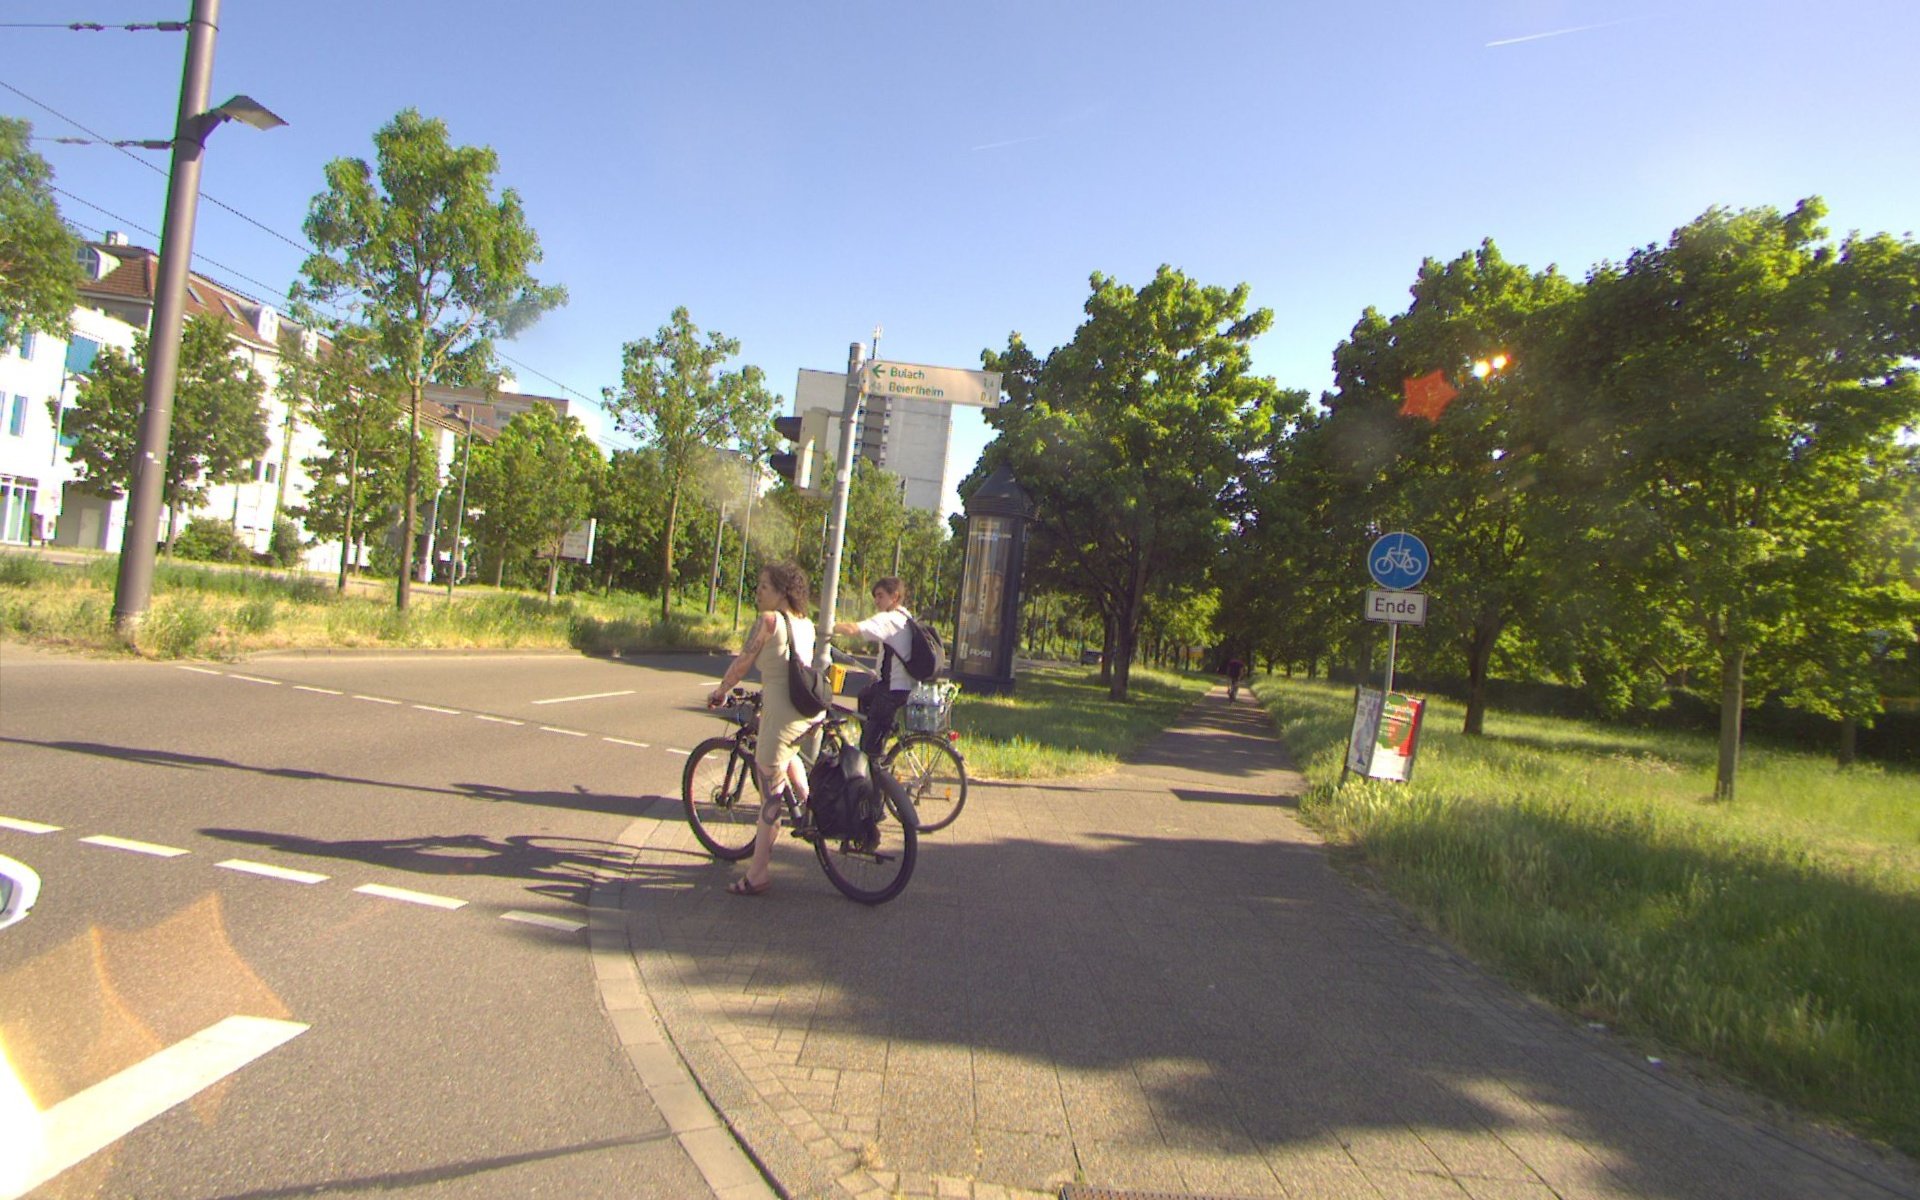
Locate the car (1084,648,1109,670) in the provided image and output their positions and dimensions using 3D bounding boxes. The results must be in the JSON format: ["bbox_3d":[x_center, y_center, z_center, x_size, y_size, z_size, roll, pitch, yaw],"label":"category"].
[{"bbox_3d":[11.899,5.169,87.529,1.661,1.594,3.880,6,-4,14],"label":"car"}]

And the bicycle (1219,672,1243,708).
[{"bbox_3d":[9.210,3.048,34.185,0.660,1.067,1.813,6,-1,15],"label":"bicycle"}]

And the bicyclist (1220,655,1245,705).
[{"bbox_3d":[9.265,2.719,34.244,0.660,1.605,1.005,6,0,15],"label":"bicyclist"}]

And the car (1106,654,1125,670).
[{"bbox_3d":[18.280,7.289,118.227,1.661,1.594,3.880,6,-4,14],"label":"car"}]

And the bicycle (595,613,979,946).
[{"bbox_3d":[-1.016,0.873,5.573,2.047,1.364,0.790,6,-1,38],"label":"bicycle"}]

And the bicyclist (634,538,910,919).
[{"bbox_3d":[-1.054,0.650,5.623,1.118,1.846,0.790,6,0,37],"label":"bicyclist"}]

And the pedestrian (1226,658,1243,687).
[{"bbox_3d":[17.834,4.697,65.374,0.725,1.747,0.889,7,-1,3],"label":"pedestrian"}]

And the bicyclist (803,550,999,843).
[{"bbox_3d":[-0.440,0.686,7.550,0.996,1.983,0.790,6,0,37],"label":"bicyclist"}]

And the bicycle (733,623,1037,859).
[{"bbox_3d":[-0.628,0.989,7.681,2.229,1.364,0.790,6,-1,38],"label":"bicycle"}]
